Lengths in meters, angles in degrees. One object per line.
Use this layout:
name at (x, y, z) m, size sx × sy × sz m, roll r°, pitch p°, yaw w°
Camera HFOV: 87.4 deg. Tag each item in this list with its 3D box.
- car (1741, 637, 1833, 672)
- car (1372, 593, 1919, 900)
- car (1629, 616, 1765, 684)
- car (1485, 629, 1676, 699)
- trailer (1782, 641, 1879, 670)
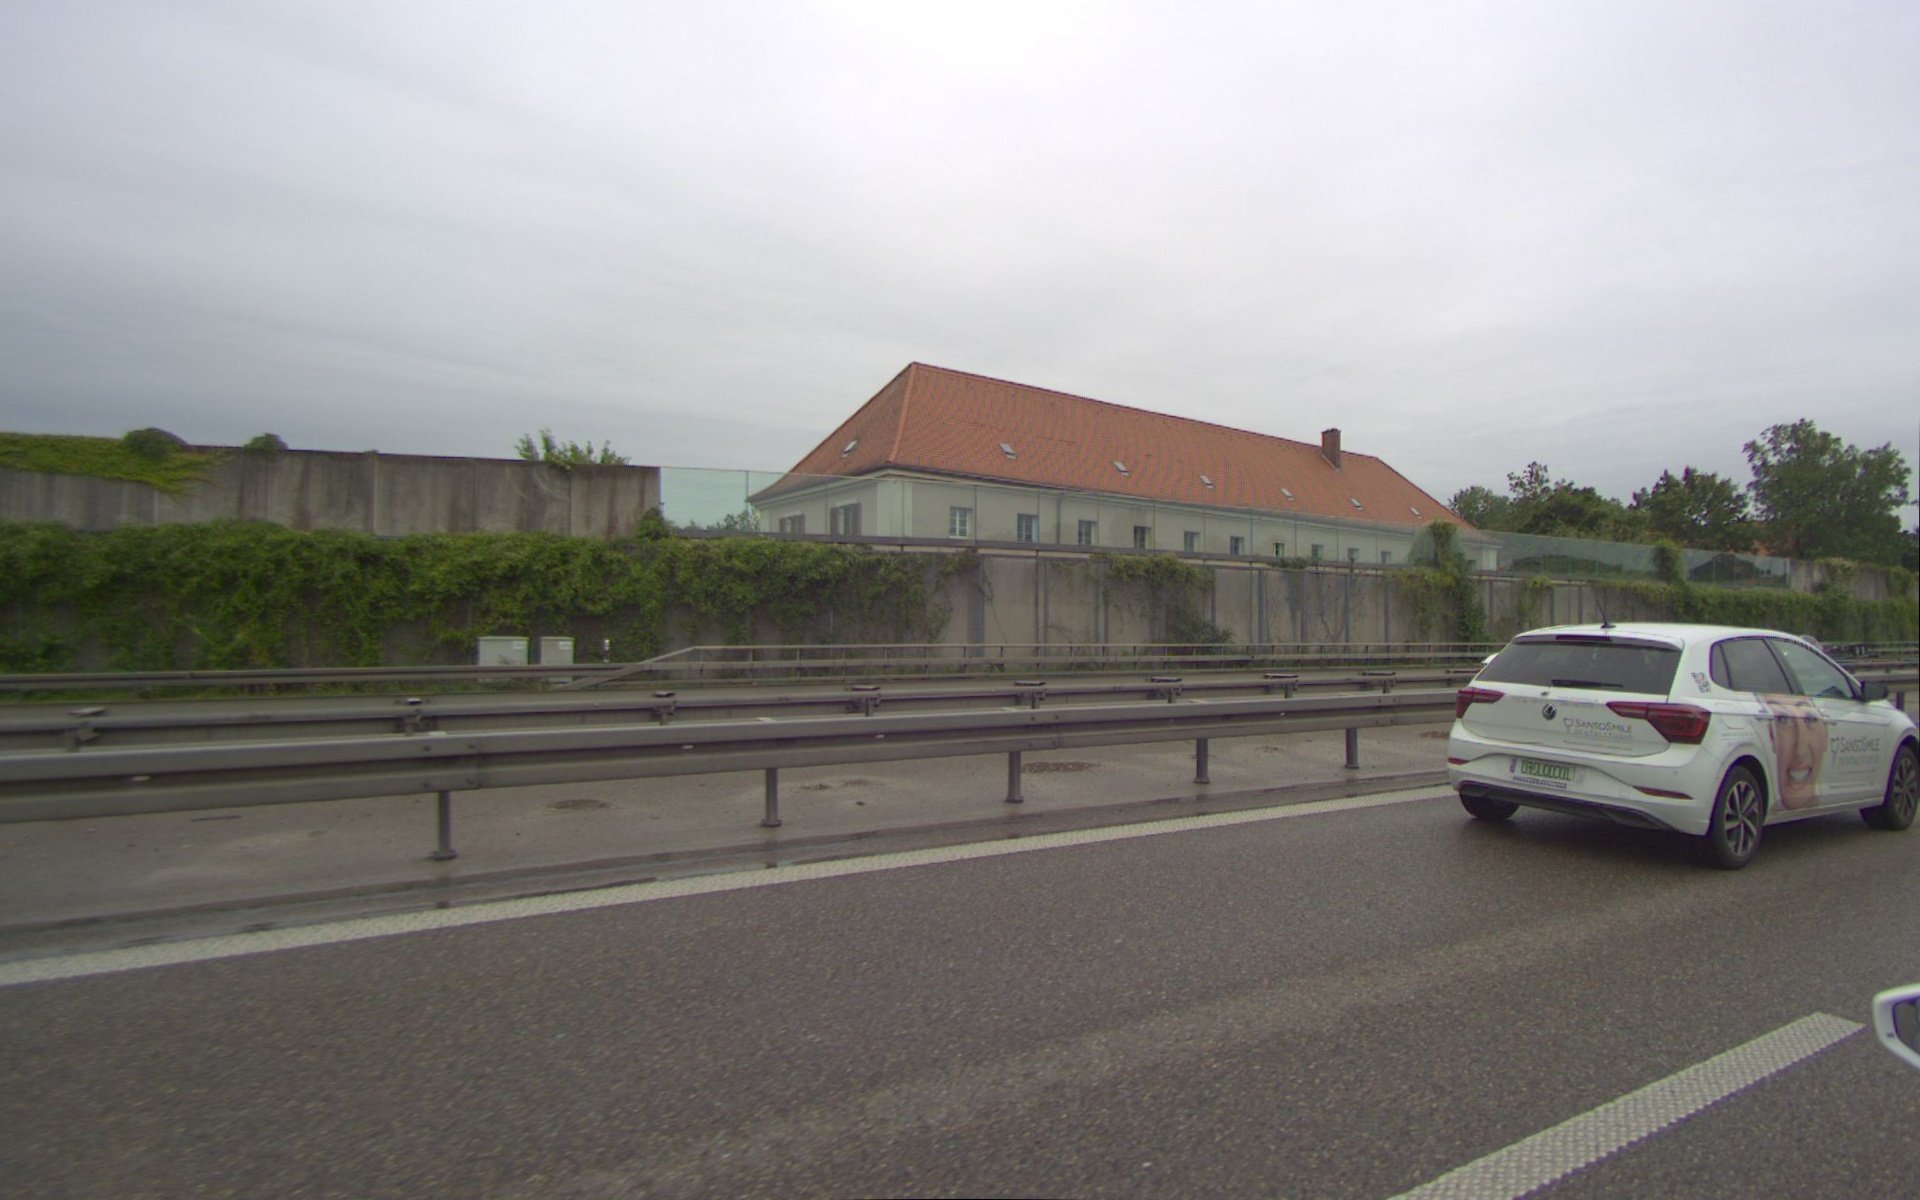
car at (39.970, 2.620, 48.521) m, size 4.466 × 1.573 × 1.947 m, roll 2°, pitch 0°, yaw -29°
car at (5.235, 0.837, 7.313) m, size 4.609 × 1.639 × 1.744 m, roll 1°, pitch -1°, yaw -31°
car at (23.479, 1.562, 31.955) m, size 4.680 × 2.040 × 1.922 m, roll 2°, pitch -2°, yaw -32°
car at (13.843, 1.430, 22.330) m, size 4.710 × 1.424 × 1.594 m, roll 2°, pitch -5°, yaw -31°
trailer at (43.944, 2.789, 50.679) m, size 5.185 × 1.284 × 2.120 m, roll 2°, pitch 0°, yaw -30°
